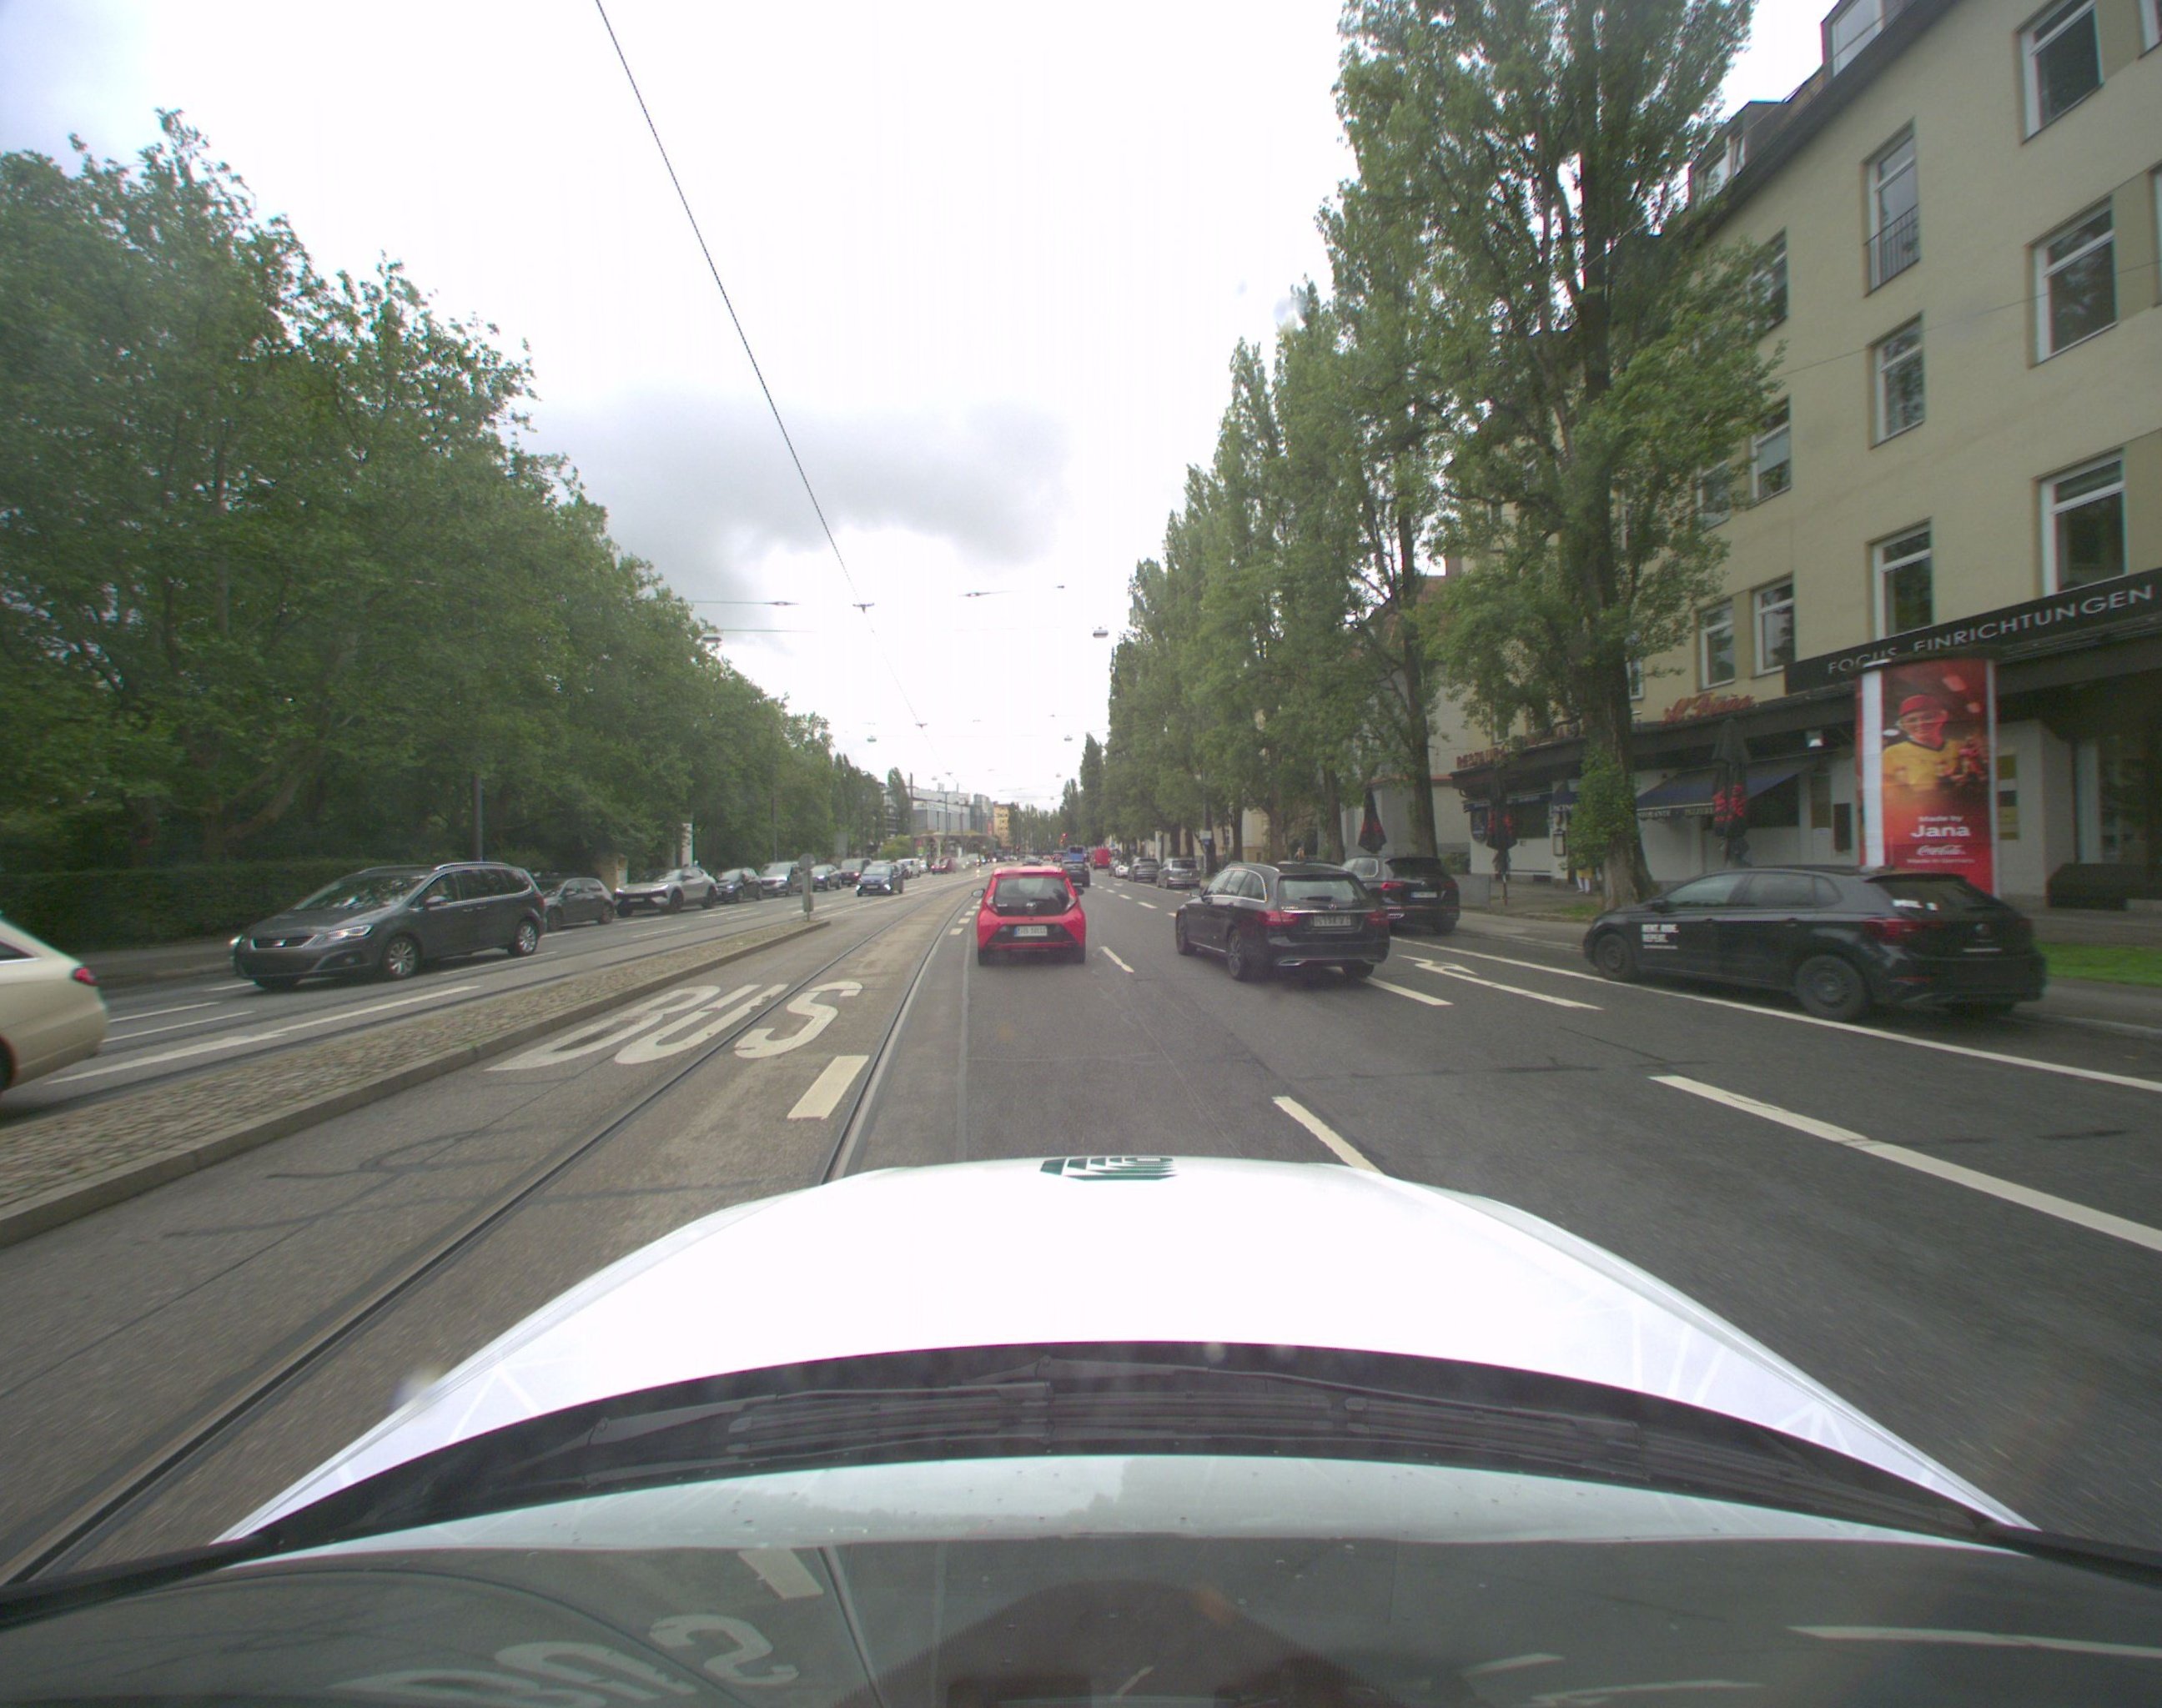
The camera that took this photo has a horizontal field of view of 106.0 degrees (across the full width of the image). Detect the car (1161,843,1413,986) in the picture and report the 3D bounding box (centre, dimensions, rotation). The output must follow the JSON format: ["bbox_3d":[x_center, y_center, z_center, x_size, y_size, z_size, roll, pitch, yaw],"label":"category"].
[{"bbox_3d":[2.590,0.656,11.588,1.862,1.549,4.691,-2,1,-7],"label":"car"}]

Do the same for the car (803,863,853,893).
[{"bbox_3d":[-15.409,1.413,49.802,1.795,1.634,4.583,-2,0,-3],"label":"car"}]

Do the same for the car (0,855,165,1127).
[{"bbox_3d":[-7.335,0.843,3.351,1.819,1.638,4.883,-2,0,-5],"label":"car"}]

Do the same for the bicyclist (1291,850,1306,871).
[{"bbox_3d":[14.094,0.429,52.804,0.659,1.314,0.705,-2,0,-5],"label":"bicyclist"}]

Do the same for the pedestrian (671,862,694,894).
[{"bbox_3d":[-21.461,1.270,43.910,0.661,1.684,0.990,-1,1,5],"label":"pedestrian"}]

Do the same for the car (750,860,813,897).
[{"bbox_3d":[-15.696,1.237,42.900,1.795,1.779,4.468,-2,0,-3],"label":"car"}]

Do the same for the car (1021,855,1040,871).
[{"bbox_3d":[-4.928,0.878,80.315,1.732,1.549,4.571,-2,0,-3],"label":"car"}]

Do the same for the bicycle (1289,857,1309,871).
[{"bbox_3d":[14.103,0.637,52.728,0.651,0.923,1.900,-2,0,-5],"label":"bicycle"}]

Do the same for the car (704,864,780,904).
[{"bbox_3d":[-15.353,1.311,37.131,1.795,1.667,4.350,-2,0,-3],"label":"car"}]

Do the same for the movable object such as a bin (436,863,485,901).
[{"bbox_3d":[-22.673,1.012,29.802,0.933,1.353,1.126,2,-1,-7],"label":"movable object such as a bin"}]

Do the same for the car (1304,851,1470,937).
[{"bbox_3d":[6.579,0.787,18.084,1.718,1.612,4.464,-2,0,-4],"label":"car"}]

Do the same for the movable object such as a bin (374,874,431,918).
[{"bbox_3d":[-22.338,1.379,26.838,0.933,1.353,1.080,4,-1,-7],"label":"movable object such as a bin"}]

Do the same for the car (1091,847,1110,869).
[{"bbox_3d":[2.429,0.443,100.876,1.989,2.574,4.675,-1,1,-3],"label":"car"}]

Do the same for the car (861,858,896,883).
[{"bbox_3d":[-16.285,1.309,65.800,1.795,1.788,4.514,-3,0,-3],"label":"car"}]

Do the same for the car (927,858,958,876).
[{"bbox_3d":[-15.504,1.411,91.302,1.788,1.788,4.532,-3,0,10],"label":"car"}]

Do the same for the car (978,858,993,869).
[{"bbox_3d":[-15.864,1.558,135.045,1.794,1.665,4.518,-3,0,0],"label":"car"}]

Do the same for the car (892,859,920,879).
[{"bbox_3d":[-17.081,1.436,79.701,1.795,1.861,4.625,-3,0,-3],"label":"car"}]

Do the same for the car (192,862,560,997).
[{"bbox_3d":[-10.799,1.007,13.125,1.818,1.683,4.885,-2,0,-3],"label":"car"}]

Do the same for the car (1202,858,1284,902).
[{"bbox_3d":[5.759,0.885,29.452,1.796,1.398,4.375,-2,0,-4],"label":"car"}]

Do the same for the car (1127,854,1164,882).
[{"bbox_3d":[4.347,0.940,55.763,1.796,1.743,4.693,-2,0,-4],"label":"car"}]

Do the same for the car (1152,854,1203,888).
[{"bbox_3d":[4.926,0.831,42.275,1.796,1.612,4.540,-2,0,-4],"label":"car"}]

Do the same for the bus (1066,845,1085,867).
[{"bbox_3d":[-1.002,0.311,138.036,2.899,3.395,10.796,-1,2,-3],"label":"bus"}]

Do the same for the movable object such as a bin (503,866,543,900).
[{"bbox_3d":[-22.960,1.176,33.534,0.933,1.353,1.080,1,-1,-7],"label":"movable object such as a bin"}]

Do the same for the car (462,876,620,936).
[{"bbox_3d":[-14.911,1.366,22.793,1.818,1.381,4.094,-2,0,-3],"label":"car"}]

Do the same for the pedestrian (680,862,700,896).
[{"bbox_3d":[-20.882,1.332,43.502,0.661,1.790,0.819,-1,-1,5],"label":"pedestrian"}]

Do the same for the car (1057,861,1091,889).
[{"bbox_3d":[-0.454,1.170,46.710,1.777,1.486,3.996,-1,0,-3],"label":"car"}]

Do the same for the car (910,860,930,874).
[{"bbox_3d":[-19.717,1.567,99.828,1.797,1.530,4.510,-3,0,-5],"label":"car"}]

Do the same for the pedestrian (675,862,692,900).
[{"bbox_3d":[-21.437,1.437,43.912,0.585,2.014,0.677,-1,0,-3],"label":"pedestrian"}]

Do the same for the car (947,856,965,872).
[{"bbox_3d":[-15.335,1.254,100.065,1.796,1.788,4.512,-3,0,-4],"label":"car"}]

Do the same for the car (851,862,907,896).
[{"bbox_3d":[-9.779,1.173,39.729,1.795,1.522,4.350,-2,-1,-3],"label":"car"}]

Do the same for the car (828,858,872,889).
[{"bbox_3d":[-16.381,1.338,57.995,1.795,1.991,5.034,-2,0,-3],"label":"car"}]

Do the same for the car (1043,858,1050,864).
[{"bbox_3d":[-9.418,1.908,222.106,1.798,1.596,4.000,-1,-3,1],"label":"car"}]

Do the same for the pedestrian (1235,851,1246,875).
[{"bbox_3d":[11.686,0.680,59.750,0.590,1.738,0.823,-1,1,-3],"label":"pedestrian"}]

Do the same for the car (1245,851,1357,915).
[{"bbox_3d":[6.234,0.767,23.563,1.796,1.612,4.299,-2,0,-4],"label":"car"}]

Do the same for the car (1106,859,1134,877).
[{"bbox_3d":[3.403,1.172,71.512,1.797,1.508,4.441,-1,0,-6],"label":"car"}]

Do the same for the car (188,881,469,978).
[{"bbox_3d":[-14.377,1.357,15.959,1.727,1.411,4.098,-4,0,-3],"label":"car"}]

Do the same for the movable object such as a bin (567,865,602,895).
[{"bbox_3d":[-22.988,1.187,37.720,0.933,1.353,1.156,1,-1,-7],"label":"movable object such as a bin"}]

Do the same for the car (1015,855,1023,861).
[{"bbox_3d":[-14.751,1.020,194.489,1.777,1.486,3.996,-1,0,-3],"label":"car"}]

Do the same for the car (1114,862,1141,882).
[{"bbox_3d":[3.726,1.444,66.069,1.795,1.508,3.996,-1,0,-3],"label":"car"}]

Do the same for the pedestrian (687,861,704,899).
[{"bbox_3d":[-20.791,1.410,43.951,0.585,2.014,0.677,-1,0,-3],"label":"pedestrian"}]

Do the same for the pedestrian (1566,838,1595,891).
[{"bbox_3d":[15.052,0.302,24.560,0.571,1.562,0.495,-1,1,-3],"label":"pedestrian"}]

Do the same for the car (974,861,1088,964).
[{"bbox_3d":[-0.865,0.851,13.362,1.626,1.440,3.370,0,0,-5],"label":"car"}]

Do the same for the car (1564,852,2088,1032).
[{"bbox_3d":[7.501,0.743,8.852,1.798,1.466,3.990,-1,0,-7],"label":"car"}]

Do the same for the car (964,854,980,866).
[{"bbox_3d":[-16.092,0.855,120.781,1.795,1.665,4.515,-3,0,-2],"label":"car"}]

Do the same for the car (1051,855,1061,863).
[{"bbox_3d":[-4.845,1.046,158.677,1.777,1.486,3.996,-1,0,-3],"label":"car"}]

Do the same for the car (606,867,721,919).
[{"bbox_3d":[-15.165,1.360,29.915,1.795,1.642,4.994,-2,0,-3],"label":"car"}]
